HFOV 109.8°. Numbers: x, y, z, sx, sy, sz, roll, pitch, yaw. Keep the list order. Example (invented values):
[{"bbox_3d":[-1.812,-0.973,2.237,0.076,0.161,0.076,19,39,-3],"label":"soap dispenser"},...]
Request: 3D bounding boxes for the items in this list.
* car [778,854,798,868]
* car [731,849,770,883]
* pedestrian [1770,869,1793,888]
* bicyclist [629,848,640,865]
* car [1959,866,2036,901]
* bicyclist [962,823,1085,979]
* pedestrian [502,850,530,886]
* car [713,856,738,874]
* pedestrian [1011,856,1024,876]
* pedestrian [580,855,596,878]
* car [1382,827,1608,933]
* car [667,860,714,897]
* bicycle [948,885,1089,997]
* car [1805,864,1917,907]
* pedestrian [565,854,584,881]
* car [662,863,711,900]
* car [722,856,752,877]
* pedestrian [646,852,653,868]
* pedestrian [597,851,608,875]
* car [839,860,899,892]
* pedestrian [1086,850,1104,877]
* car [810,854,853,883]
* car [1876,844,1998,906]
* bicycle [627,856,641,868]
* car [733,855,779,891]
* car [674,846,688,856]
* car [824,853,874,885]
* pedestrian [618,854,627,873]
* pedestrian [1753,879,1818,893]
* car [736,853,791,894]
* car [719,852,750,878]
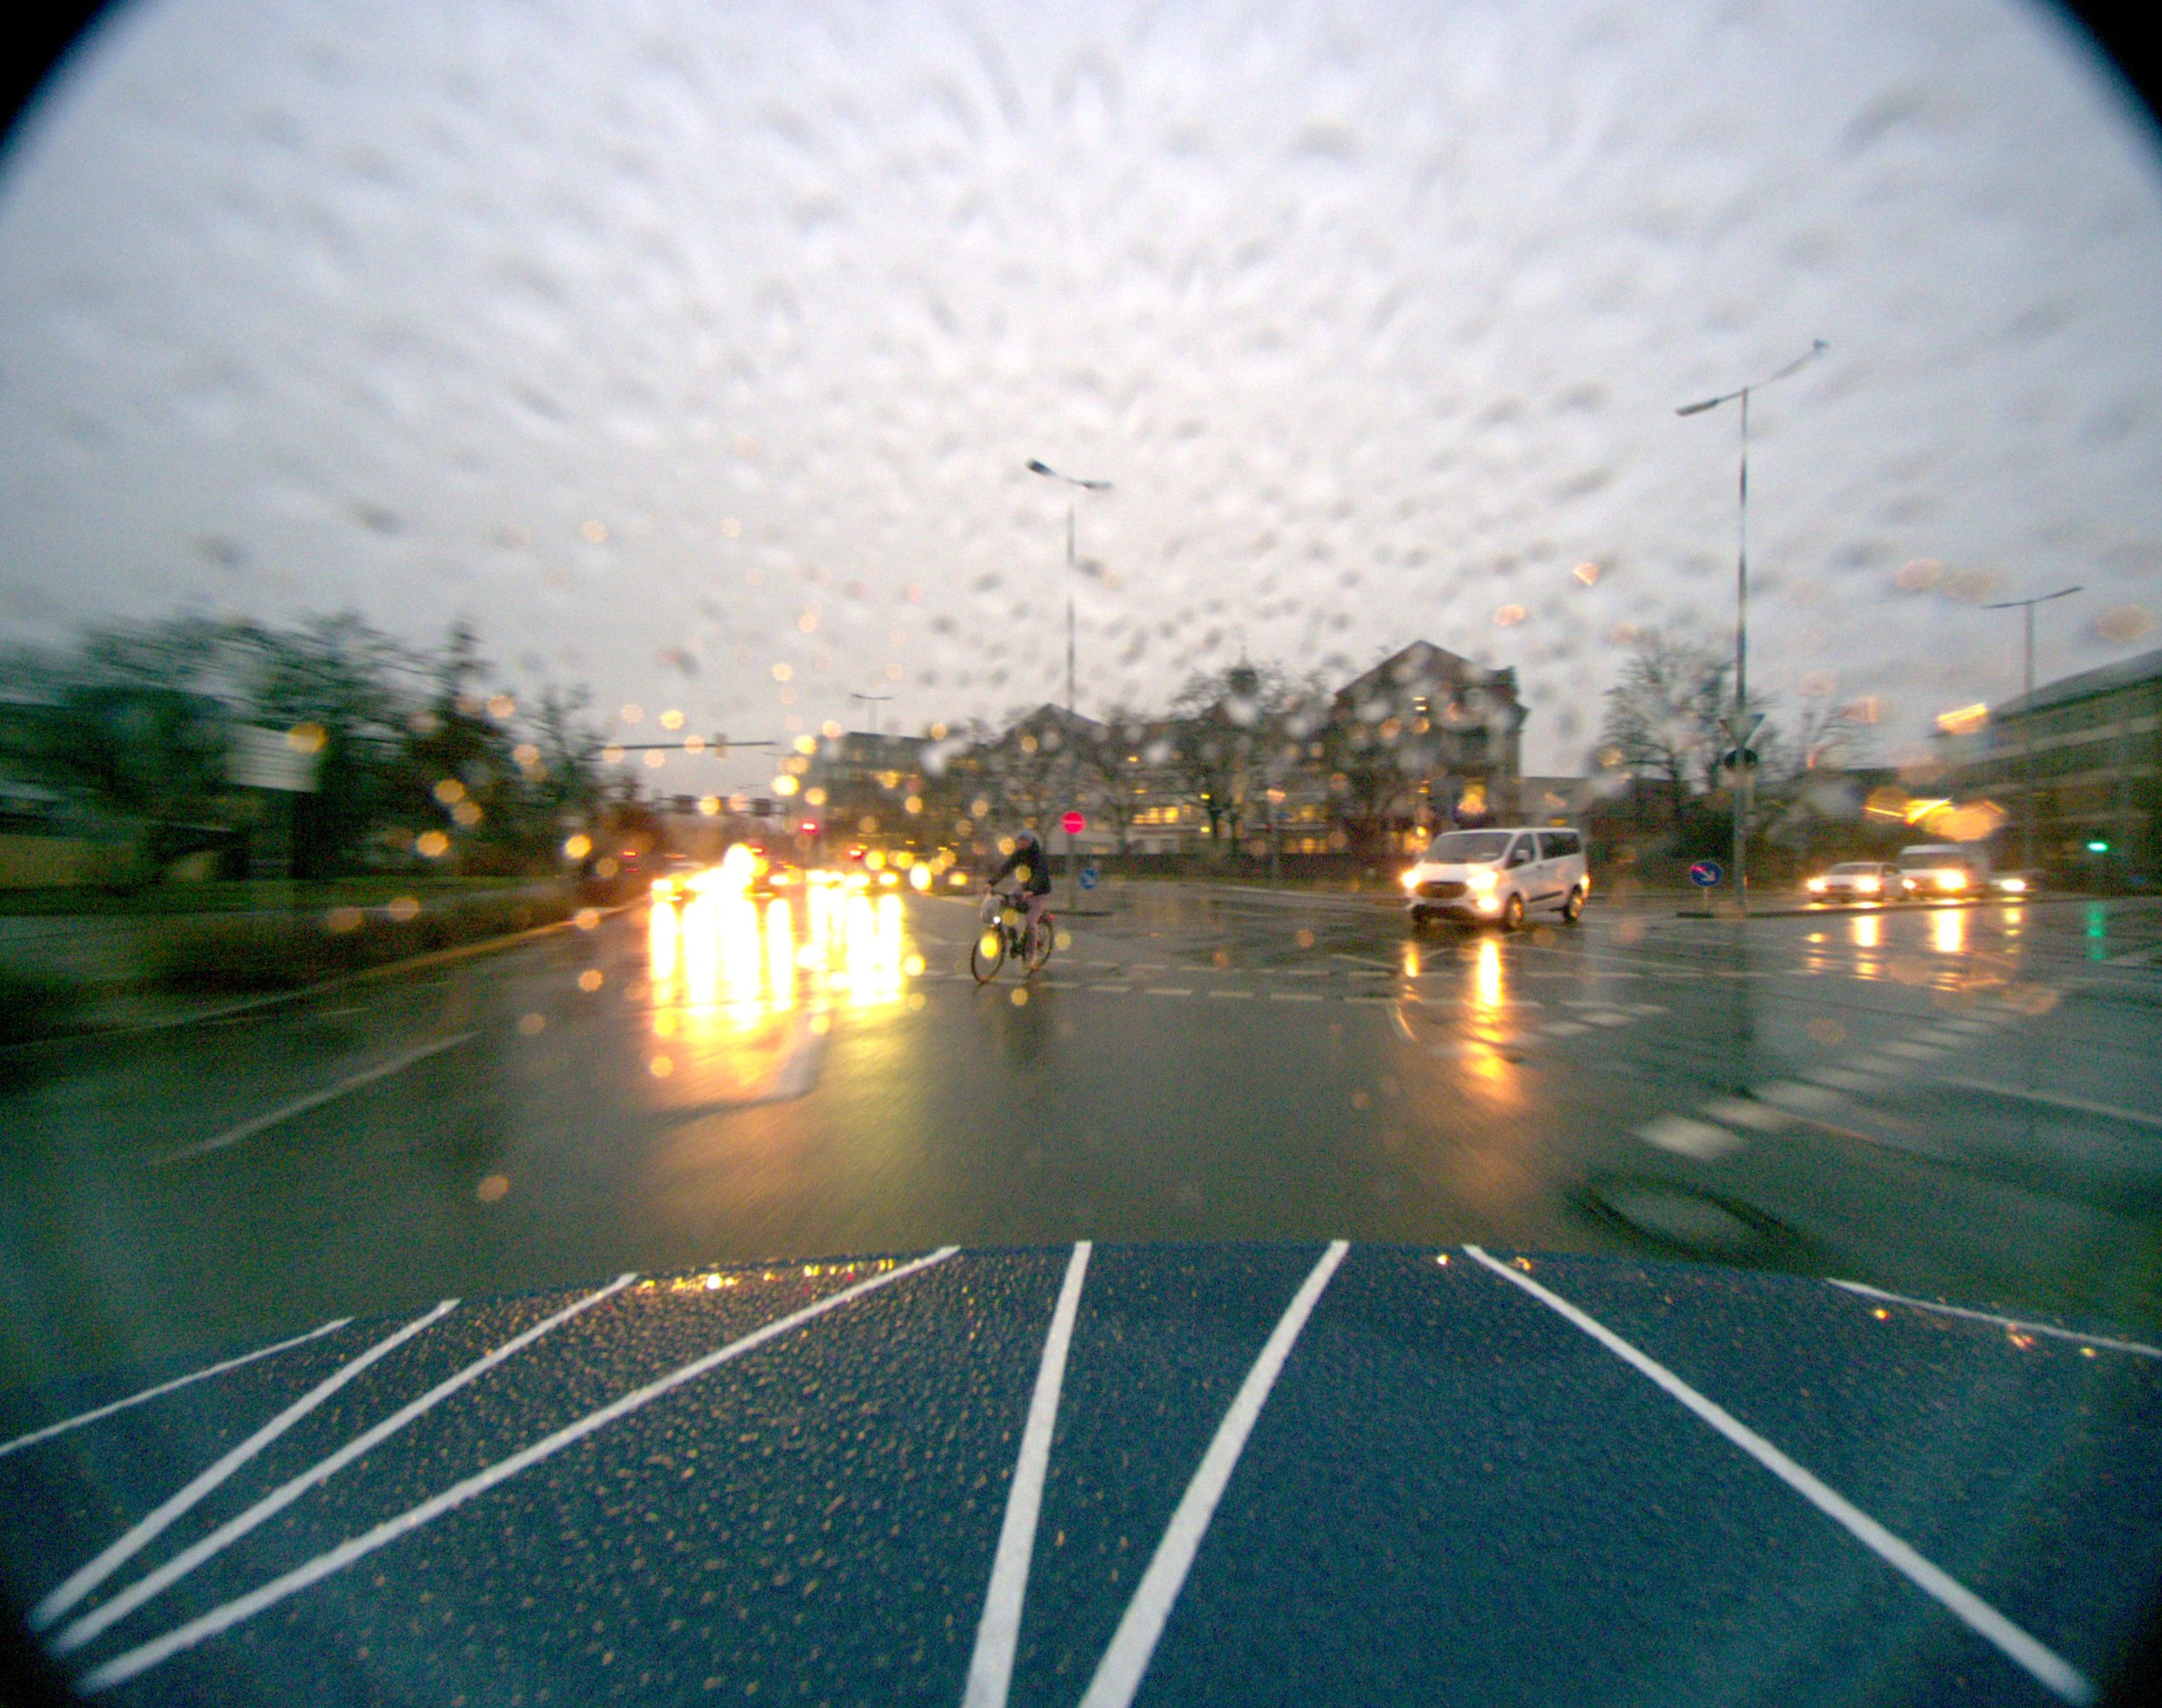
[{"bbox_3d":[-37.283,0.893,96.708,2.003,1.558,4.461,3,-2,-25],"label":"car"},{"bbox_3d":[-19.766,0.702,45.384,2.003,1.892,3.991,0,0,-25],"label":"car"},{"bbox_3d":[48.152,1.676,52.254,0.979,1.309,0.816,1,1,30],"label":"pedestrian"},{"bbox_3d":[-38.884,0.216,66.129,0.769,1.481,0.992,0,1,-26],"label":"bicyclist"},{"bbox_3d":[46.850,1.455,38.827,4.825,1.634,1.834,1,0,-32],"label":"car"},{"bbox_3d":[-0.730,0.567,9.894,1.024,1.872,1.238,-1,1,32],"label":"bicyclist"},{"bbox_3d":[-28.171,0.693,37.894,0.935,1.815,0.832,1,0,-27],"label":"pedestrian"},{"bbox_3d":[-33.985,1.012,72.642,2.003,1.689,4.516,0,0,-27],"label":"car"},{"bbox_3d":[-5.921,1.092,70.551,0.810,1.820,0.945,1,0,-30],"label":"pedestrian"},{"bbox_3d":[-38.277,0.970,59.051,0.935,1.815,0.832,1,0,-27],"label":"pedestrian"},{"bbox_3d":[8.822,0.560,16.029,5.027,1.909,2.133,1,-3,-35],"label":"car"},{"bbox_3d":[-20.436,1.245,39.912,2.003,1.827,3.992,0,0,-25],"label":"car"},{"bbox_3d":[-0.755,1.056,9.852,0.792,1.215,1.908,-1,0,33],"label":"bicycle"},{"bbox_3d":[29.143,1.164,28.370,4.324,1.494,1.752,1,-2,-29],"label":"car"},{"bbox_3d":[-34.349,0.926,51.514,0.935,1.815,0.832,1,0,-27],"label":"pedestrian"},{"bbox_3d":[-17.329,1.164,33.483,1.777,1.478,4.460,1,0,-27],"label":"car"},{"bbox_3d":[-28.756,1.039,63.429,2.003,1.558,4.751,2,0,-27],"label":"car"},{"bbox_3d":[-49.719,0.656,87.517,0.625,1.790,0.935,0,0,-25],"label":"pedestrian"},{"bbox_3d":[-40.950,0.787,65.045,0.767,2.002,0.908,0,1,-28],"label":"pedestrian"},{"bbox_3d":[-10.269,1.020,36.592,1.935,1.368,4.488,1,0,-27],"label":"car"},{"bbox_3d":[0.960,0.626,52.105,0.810,1.820,0.945,1,0,-30],"label":"pedestrian"},{"bbox_3d":[-16.285,0.925,49.438,2.003,1.739,4.460,1,0,-27],"label":"car"},{"bbox_3d":[37.455,0.917,33.206,5.878,2.502,2.343,1,-2,-30],"label":"car"},{"bbox_3d":[-38.844,0.706,66.049,0.796,1.009,2.897,1,0,-26],"label":"bicycle"},{"bbox_3d":[-17.349,0.968,40.448,2.003,1.739,4.460,1,0,-27],"label":"car"},{"bbox_3d":[-69.955,-0.536,132.967,2.146,1.805,3.991,1,0,-27],"label":"car"},{"bbox_3d":[-13.425,0.834,43.834,2.003,1.739,4.460,1,0,-27],"label":"car"},{"bbox_3d":[-48.305,1.036,79.971,0.767,2.002,0.771,0,1,-28],"label":"pedestrian"},{"bbox_3d":[48.285,2.232,52.138,3.091,0.924,0.951,-2,-3,30],"label":"pedestrian"},{"bbox_3d":[-14.837,0.852,35.304,2.003,1.739,4.934,1,0,-27],"label":"car"},{"bbox_3d":[-26.448,0.808,57.921,2.003,1.912,4.258,0,0,-27],"label":"car"}]
